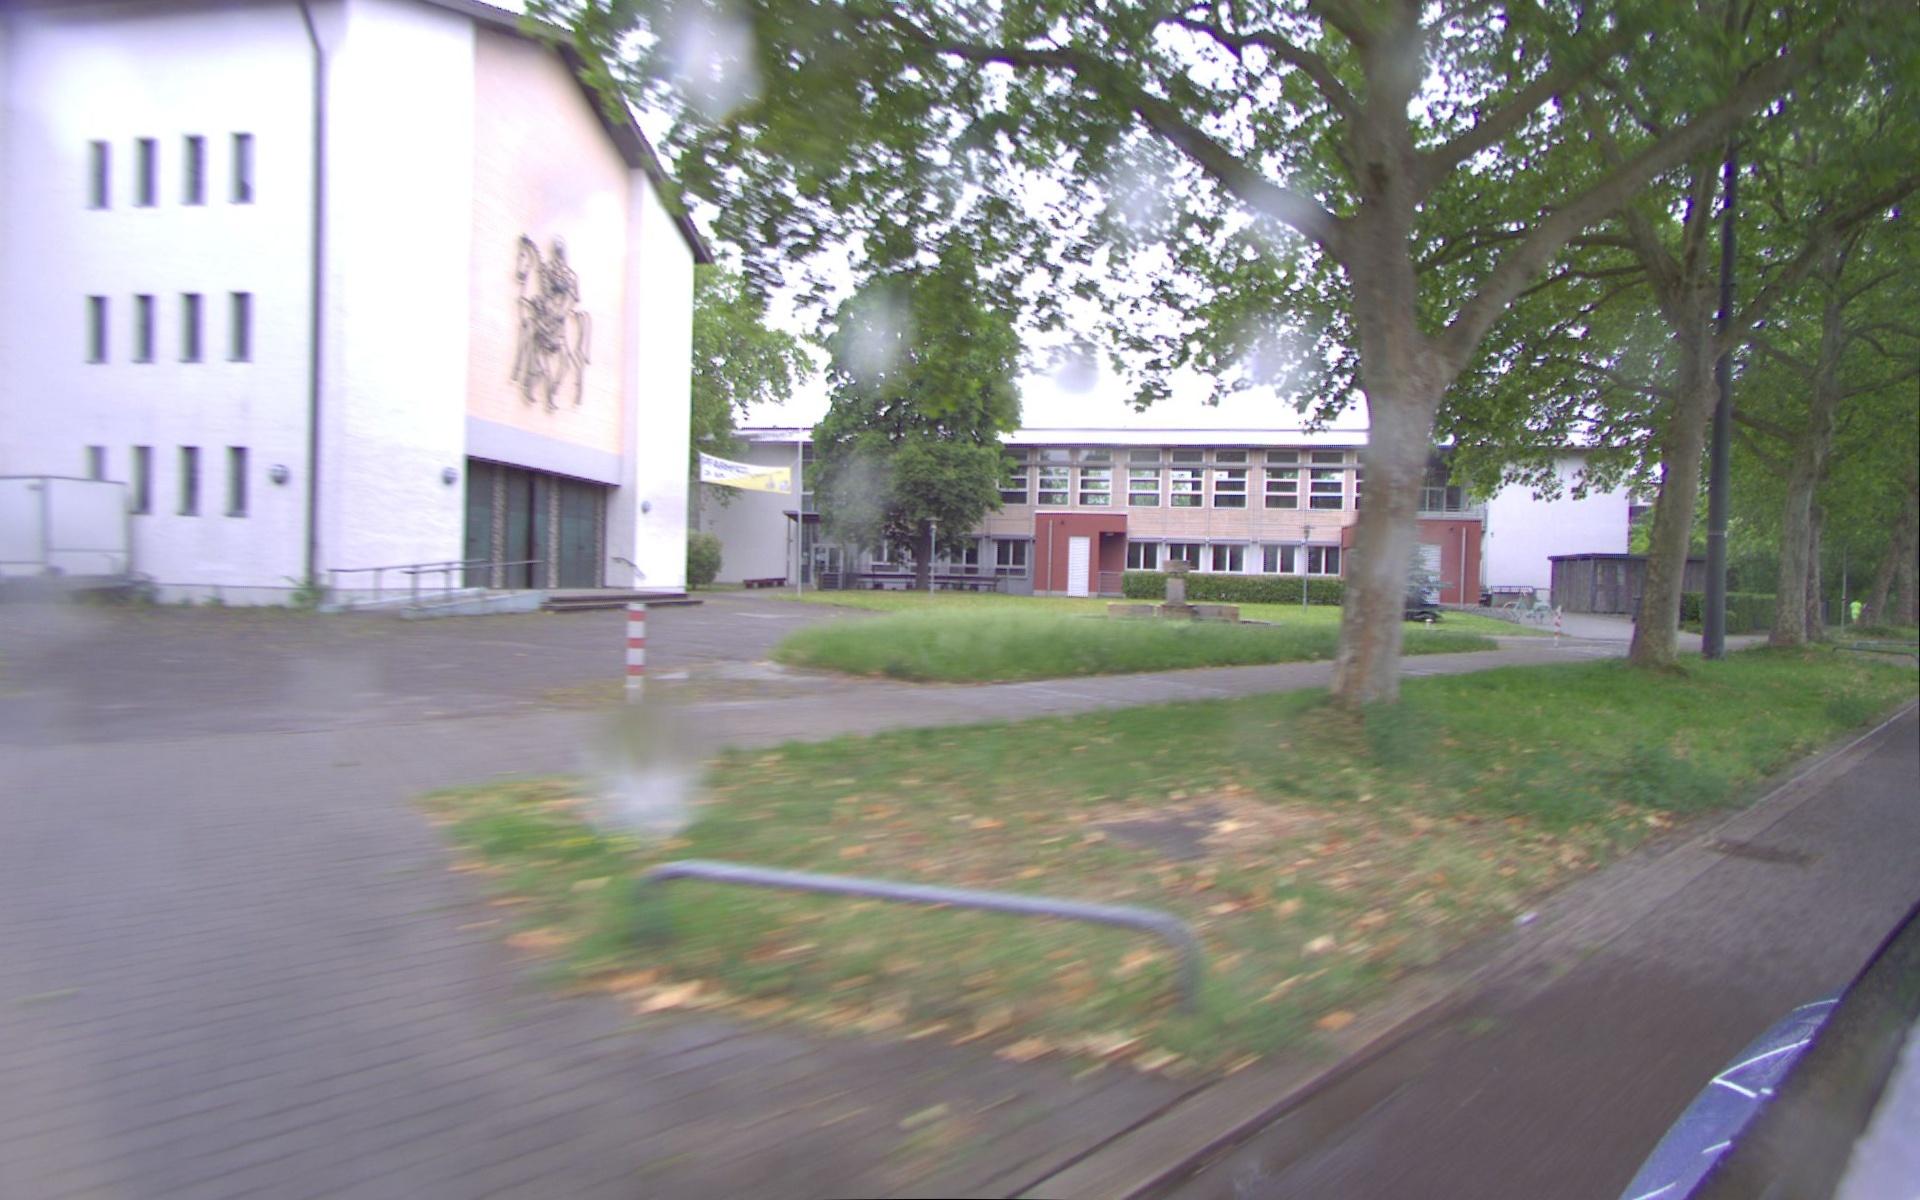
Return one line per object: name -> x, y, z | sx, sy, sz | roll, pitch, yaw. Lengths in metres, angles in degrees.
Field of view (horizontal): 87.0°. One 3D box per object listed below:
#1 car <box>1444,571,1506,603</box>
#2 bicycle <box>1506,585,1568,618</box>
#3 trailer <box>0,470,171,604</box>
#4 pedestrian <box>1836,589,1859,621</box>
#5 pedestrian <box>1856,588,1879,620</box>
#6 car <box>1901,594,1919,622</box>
car -> 25.160, -0.660, 49.536 | 1.722, 1.469, 3.572 | 1, 2, 11
bicycle -> 21.426, 0.046, 37.605 | 1.902, 1.135, 0.521 | 3, 3, 2
trailer -> -17.533, -1.198, 19.188 | 3.956, 2.337, 1.887 | 2, 1, 10
pedestrian -> 44.611, 0.246, 50.887 | 0.575, 1.557, 0.747 | 1, 2, -42
pedestrian -> 45.163, 0.187, 50.371 | 0.575, 1.557, 0.747 | 1, 2, -42
car -> 54.327, 0.521, 55.256 | 3.983, 1.505, 1.622 | 3, 2, 30
